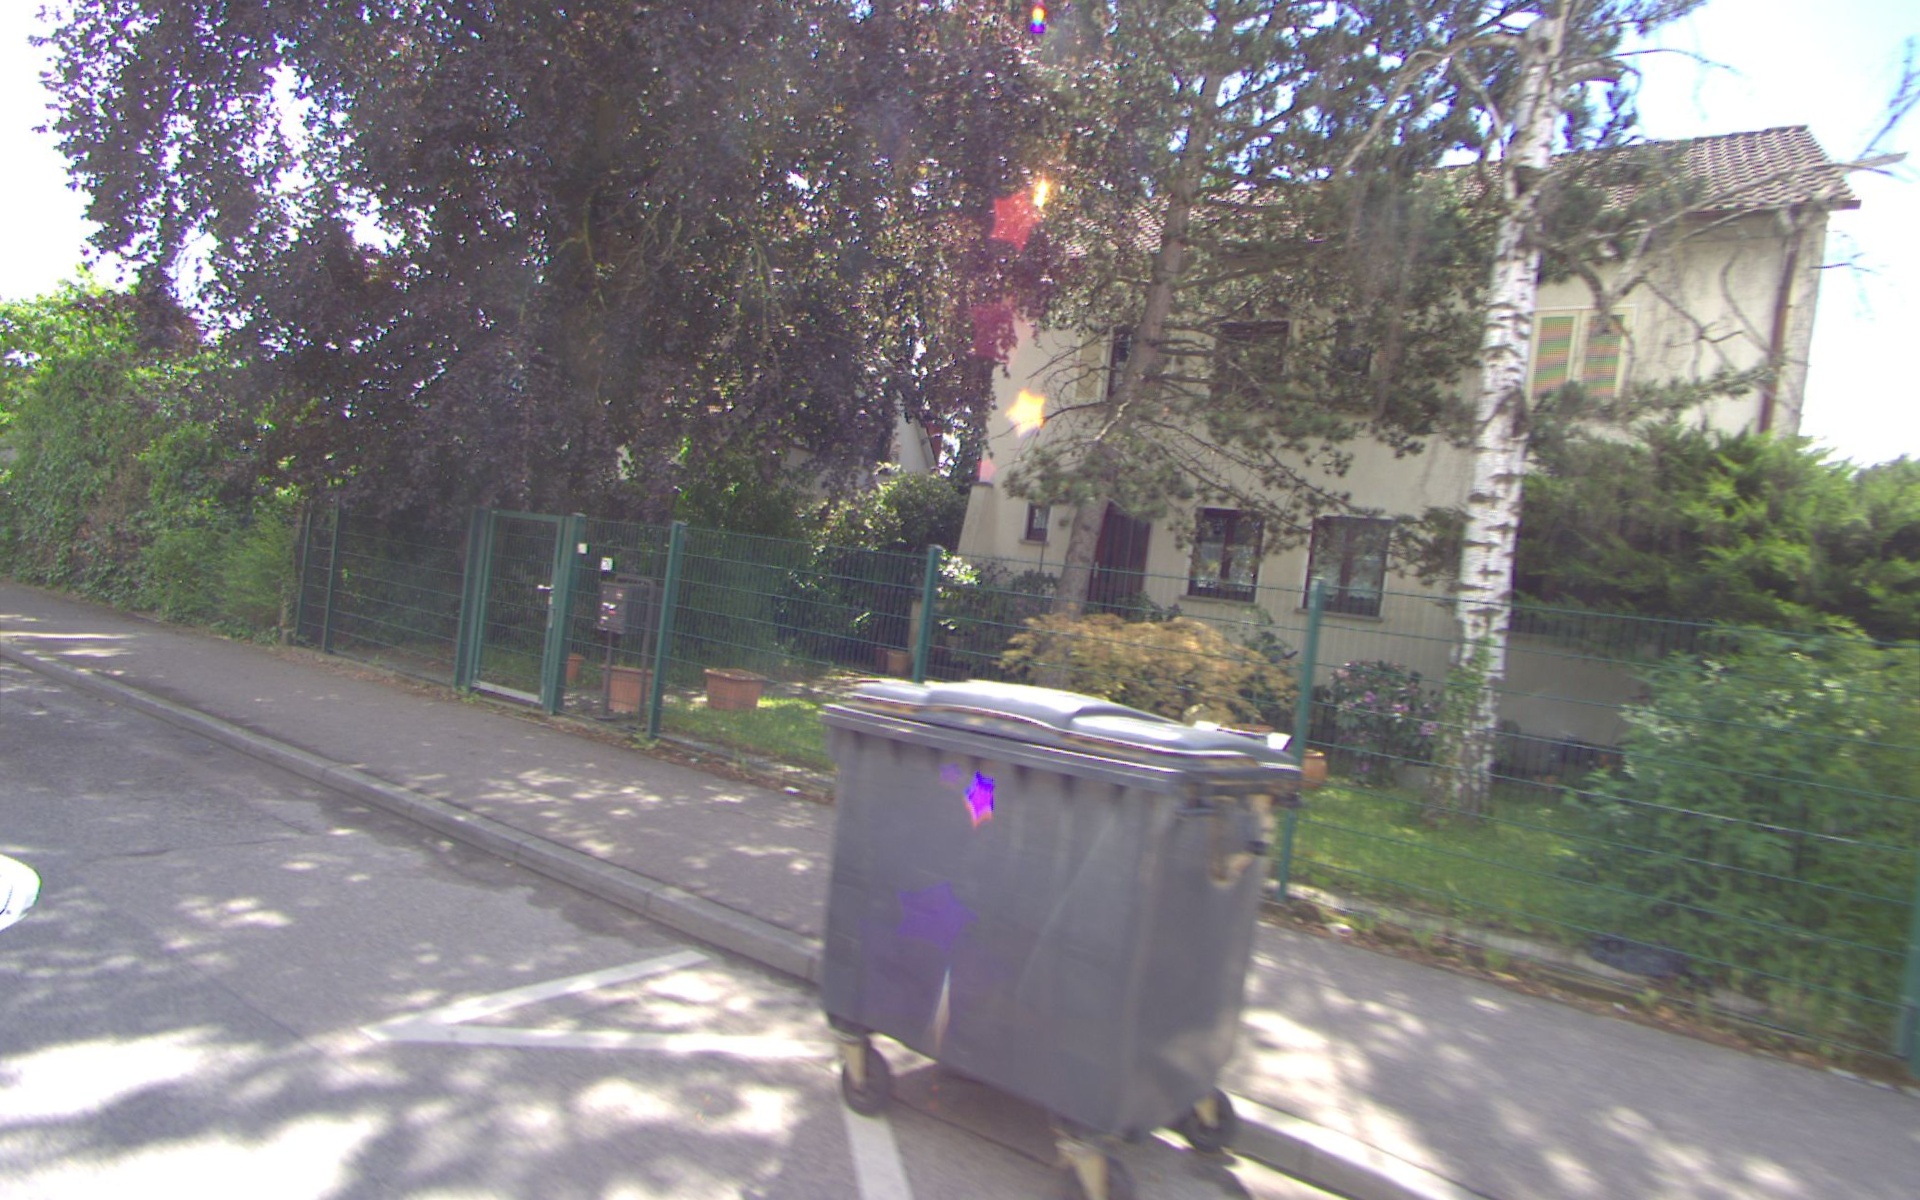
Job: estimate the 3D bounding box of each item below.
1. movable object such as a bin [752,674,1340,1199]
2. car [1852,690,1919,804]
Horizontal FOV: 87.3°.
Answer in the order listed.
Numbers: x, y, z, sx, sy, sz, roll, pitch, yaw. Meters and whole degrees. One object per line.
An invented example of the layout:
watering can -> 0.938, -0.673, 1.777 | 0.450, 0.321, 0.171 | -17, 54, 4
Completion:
movable object such as a bin -> 0.281, 0.973, 3.149 | 1.336, 1.307, 1.113 | 7, 1, 36
car -> 14.997, 2.258, 14.995 | 1.649, 1.522, 4.025 | 7, 1, 31
